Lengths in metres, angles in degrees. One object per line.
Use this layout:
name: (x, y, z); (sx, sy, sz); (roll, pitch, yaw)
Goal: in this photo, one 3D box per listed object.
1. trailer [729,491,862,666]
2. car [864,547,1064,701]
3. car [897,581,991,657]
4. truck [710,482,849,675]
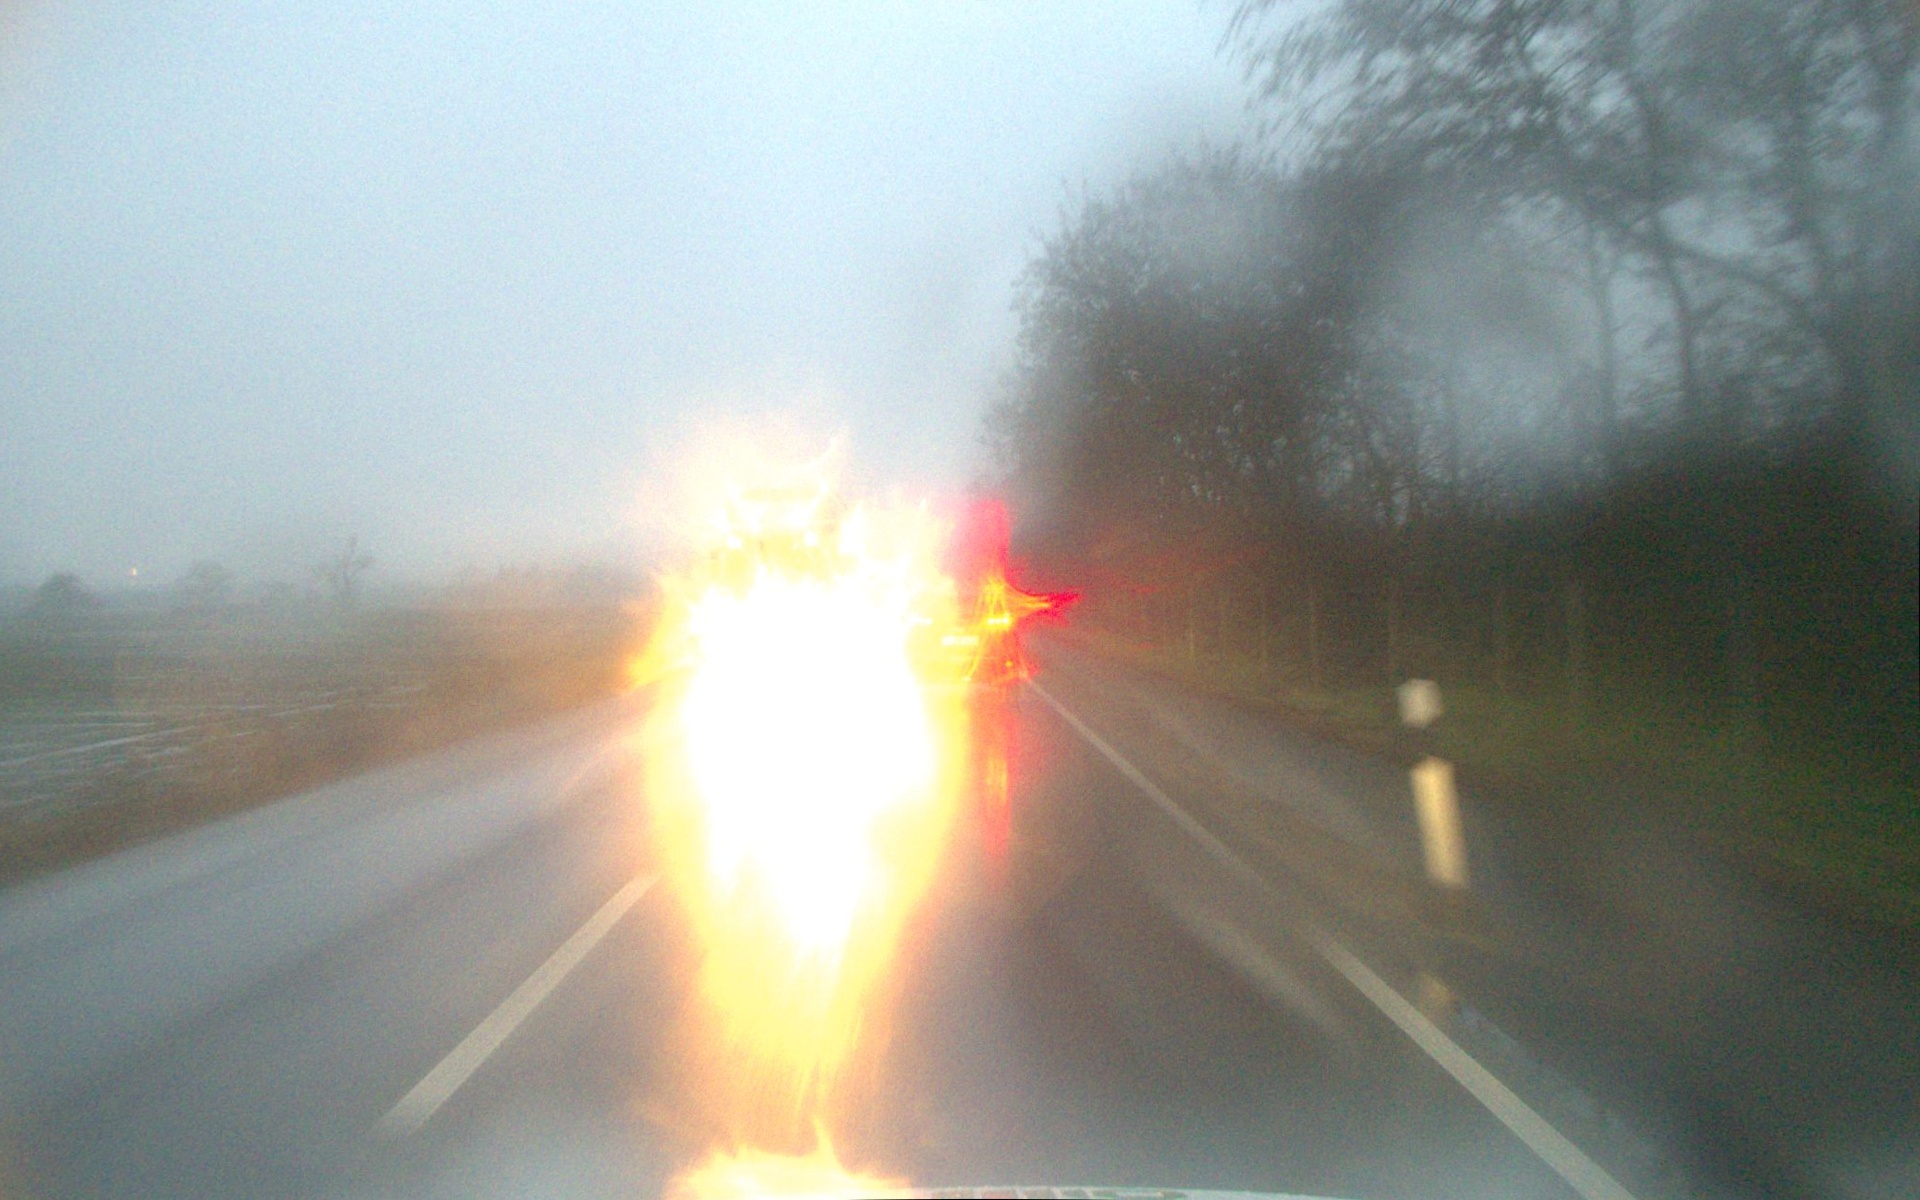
trailer: (-4.323, -0.559, 45.992); (2.647, 4.151, 12.378); (-1, 0, -1)
car: (0.041, 0.330, 25.844); (2.763, 2.113, 5.803); (1, 0, 0)
car: (-0.459, 0.530, 47.974); (2.539, 2.049, 5.803); (1, 0, 0)
truck: (-4.189, -0.499, 39.708); (2.670, 4.177, 6.586); (-1, 0, -1)
